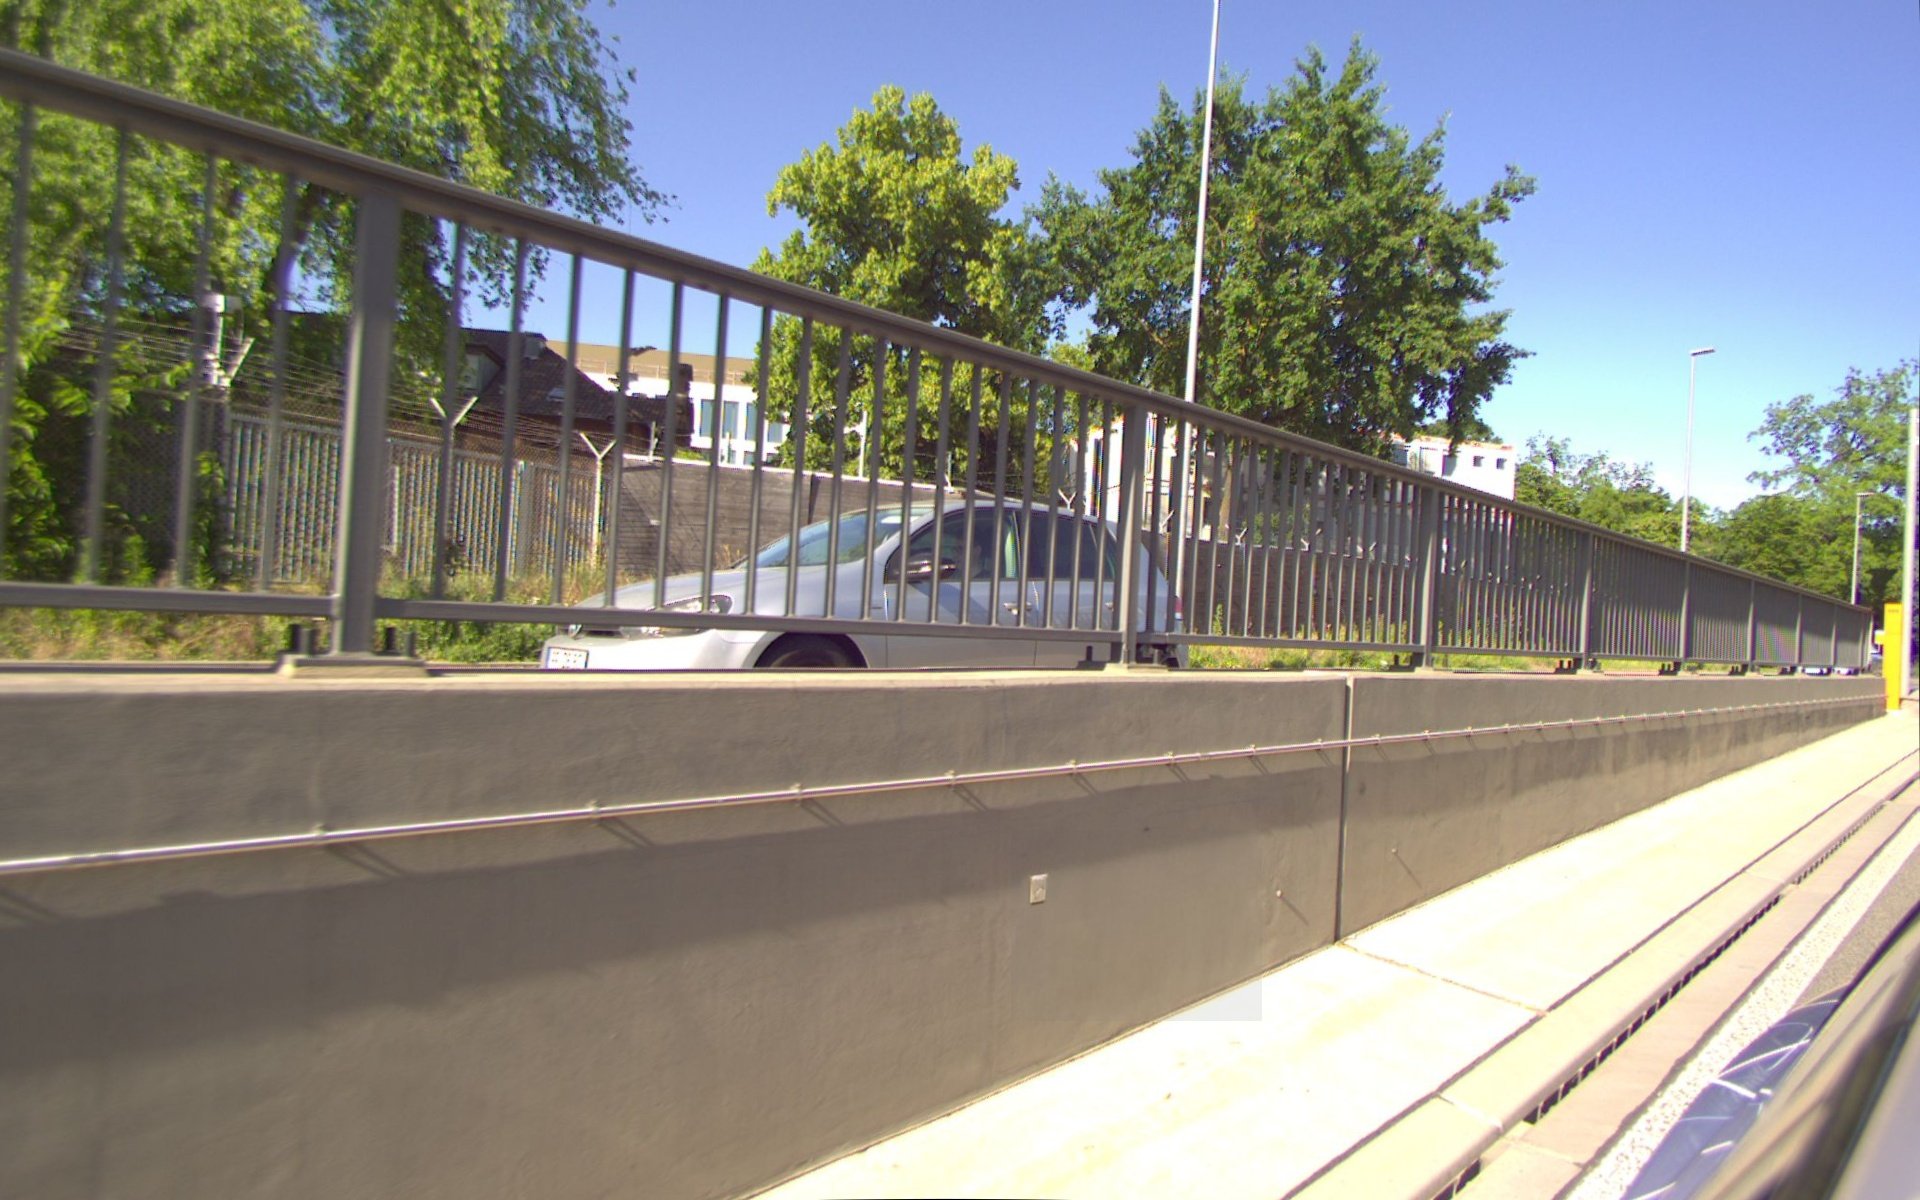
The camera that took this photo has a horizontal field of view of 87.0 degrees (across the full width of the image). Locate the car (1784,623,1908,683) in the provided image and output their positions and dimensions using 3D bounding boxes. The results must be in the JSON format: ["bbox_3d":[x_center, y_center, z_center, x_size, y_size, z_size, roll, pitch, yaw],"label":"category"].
[{"bbox_3d":[23.858,1.423,27.210,4.221,1.419,1.837,3,-1,-40],"label":"car"}]

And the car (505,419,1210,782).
[{"bbox_3d":[-0.361,0.051,5.987,3.904,1.454,1.669,3,-1,-42],"label":"car"}]

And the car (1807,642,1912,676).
[{"bbox_3d":[45.948,2.994,51.798,1.449,1.419,3.751,3,-1,-18],"label":"car"}]
